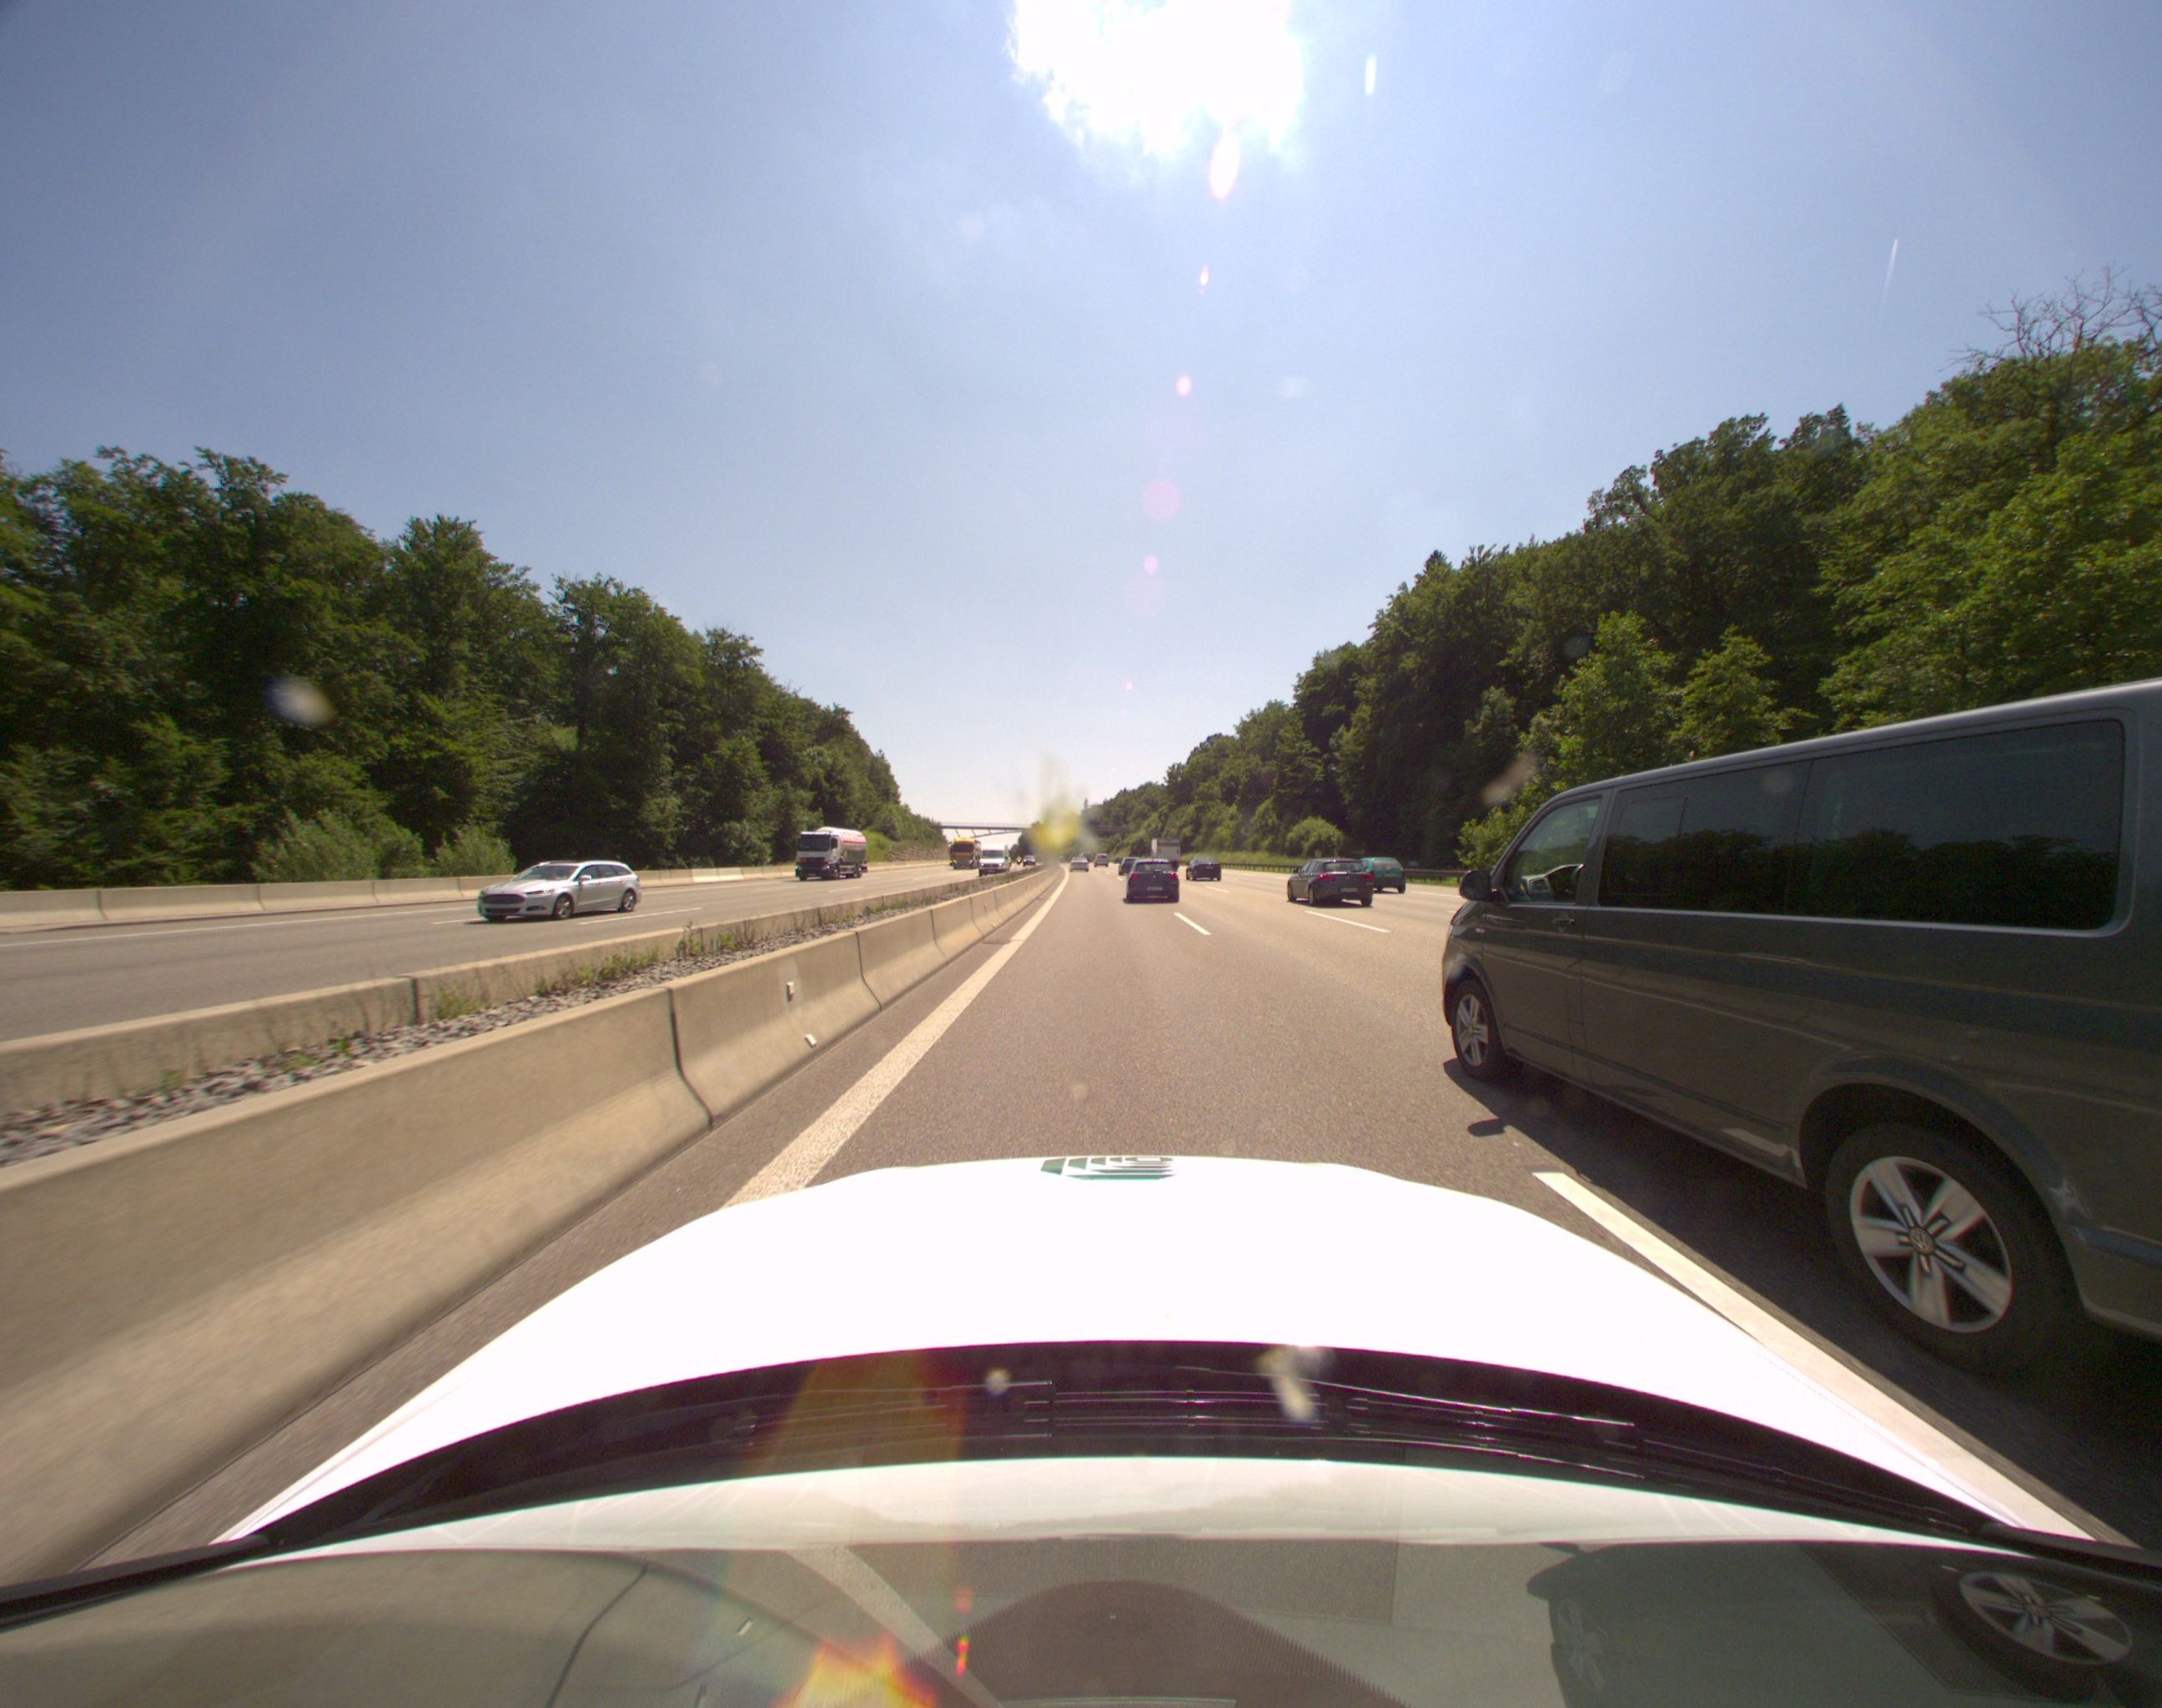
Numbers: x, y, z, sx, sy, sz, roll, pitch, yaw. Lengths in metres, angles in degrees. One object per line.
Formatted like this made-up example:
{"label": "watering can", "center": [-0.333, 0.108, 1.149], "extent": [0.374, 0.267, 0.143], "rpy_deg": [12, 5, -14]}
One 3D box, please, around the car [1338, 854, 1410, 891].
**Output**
{"label": "car", "center": [12.193, 0.757, 34.150], "extent": [1.539, 1.444, 4.341], "rpy_deg": [0, -1, 1]}

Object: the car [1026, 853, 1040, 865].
{"label": "car", "center": [-7.242, 0.700, 123.089], "extent": [1.988, 1.705, 4.950], "rpy_deg": [0, 0, -1]}

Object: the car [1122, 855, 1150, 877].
{"label": "car", "center": [4.377, 0.982, 65.620], "extent": [1.987, 1.728, 4.148], "rpy_deg": [0, -2, 1]}

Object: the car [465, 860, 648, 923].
{"label": "car", "center": [-13.632, 0.905, 21.547], "extent": [1.756, 1.482, 4.496], "rpy_deg": [1, -1, 2]}

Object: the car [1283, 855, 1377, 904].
{"label": "car", "center": [7.561, 0.737, 25.150], "extent": [1.696, 1.396, 4.154], "rpy_deg": [0, 0, 1]}

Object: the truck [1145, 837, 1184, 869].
{"label": "truck", "center": [8.436, -0.086, 83.173], "extent": [2.977, 3.167, 7.570], "rpy_deg": [0, 0, -1]}

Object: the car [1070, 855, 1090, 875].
{"label": "car", "center": [-0.078, 1.157, 82.390], "extent": [2.005, 1.846, 3.999], "rpy_deg": [0, -4, 1]}

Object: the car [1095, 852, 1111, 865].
{"label": "car", "center": [3.094, 0.593, 114.069], "extent": [2.097, 1.744, 4.686], "rpy_deg": [0, 0, 0]}

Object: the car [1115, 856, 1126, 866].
{"label": "car", "center": [8.022, 1.405, 165.897], "extent": [2.138, 1.858, 4.001], "rpy_deg": [1, 0, 1]}

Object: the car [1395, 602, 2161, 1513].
{"label": "car", "center": [3.455, 0.455, 4.037], "extent": [1.955, 2.033, 5.085], "rpy_deg": [0, 0, 2]}

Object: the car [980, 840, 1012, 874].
{"label": "car", "center": [-6.653, 0.280, 64.011], "extent": [2.149, 2.490, 4.698], "rpy_deg": [0, -2, -1]}

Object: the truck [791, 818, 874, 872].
{"label": "truck", "center": [-17.327, -0.534, 57.519], "extent": [2.601, 3.466, 9.882], "rpy_deg": [1, -1, 1]}

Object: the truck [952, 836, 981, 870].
{"label": "truck", "center": [-13.830, -0.101, 99.028], "extent": [2.523, 3.940, 6.799], "rpy_deg": [0, 0, 0]}

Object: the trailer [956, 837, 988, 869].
{"label": "trailer", "center": [-13.823, -0.064, 104.208], "extent": [2.530, 3.880, 11.693], "rpy_deg": [0, 0, 0]}

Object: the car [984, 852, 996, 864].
{"label": "car", "center": [-15.998, 0.705, 143.946], "extent": [1.638, 2.014, 3.998], "rpy_deg": [1, -2, 0]}

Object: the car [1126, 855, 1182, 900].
{"label": "car", "center": [2.454, 0.776, 28.283], "extent": [1.701, 1.433, 4.001], "rpy_deg": [0, 0, 1]}

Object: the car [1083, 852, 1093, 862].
{"label": "car", "center": [1.547, 0.689, 187.944], "extent": [2.258, 2.371, 4.700], "rpy_deg": [0, -1, 0]}

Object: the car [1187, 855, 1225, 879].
{"label": "car", "center": [7.646, 0.739, 50.277], "extent": [1.659, 1.408, 4.904], "rpy_deg": [0, 0, 1]}

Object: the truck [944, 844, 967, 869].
{"label": "truck", "center": [-20.238, 0.432, 131.912], "extent": [2.742, 4.017, 6.749], "rpy_deg": [0, 0, -1]}
